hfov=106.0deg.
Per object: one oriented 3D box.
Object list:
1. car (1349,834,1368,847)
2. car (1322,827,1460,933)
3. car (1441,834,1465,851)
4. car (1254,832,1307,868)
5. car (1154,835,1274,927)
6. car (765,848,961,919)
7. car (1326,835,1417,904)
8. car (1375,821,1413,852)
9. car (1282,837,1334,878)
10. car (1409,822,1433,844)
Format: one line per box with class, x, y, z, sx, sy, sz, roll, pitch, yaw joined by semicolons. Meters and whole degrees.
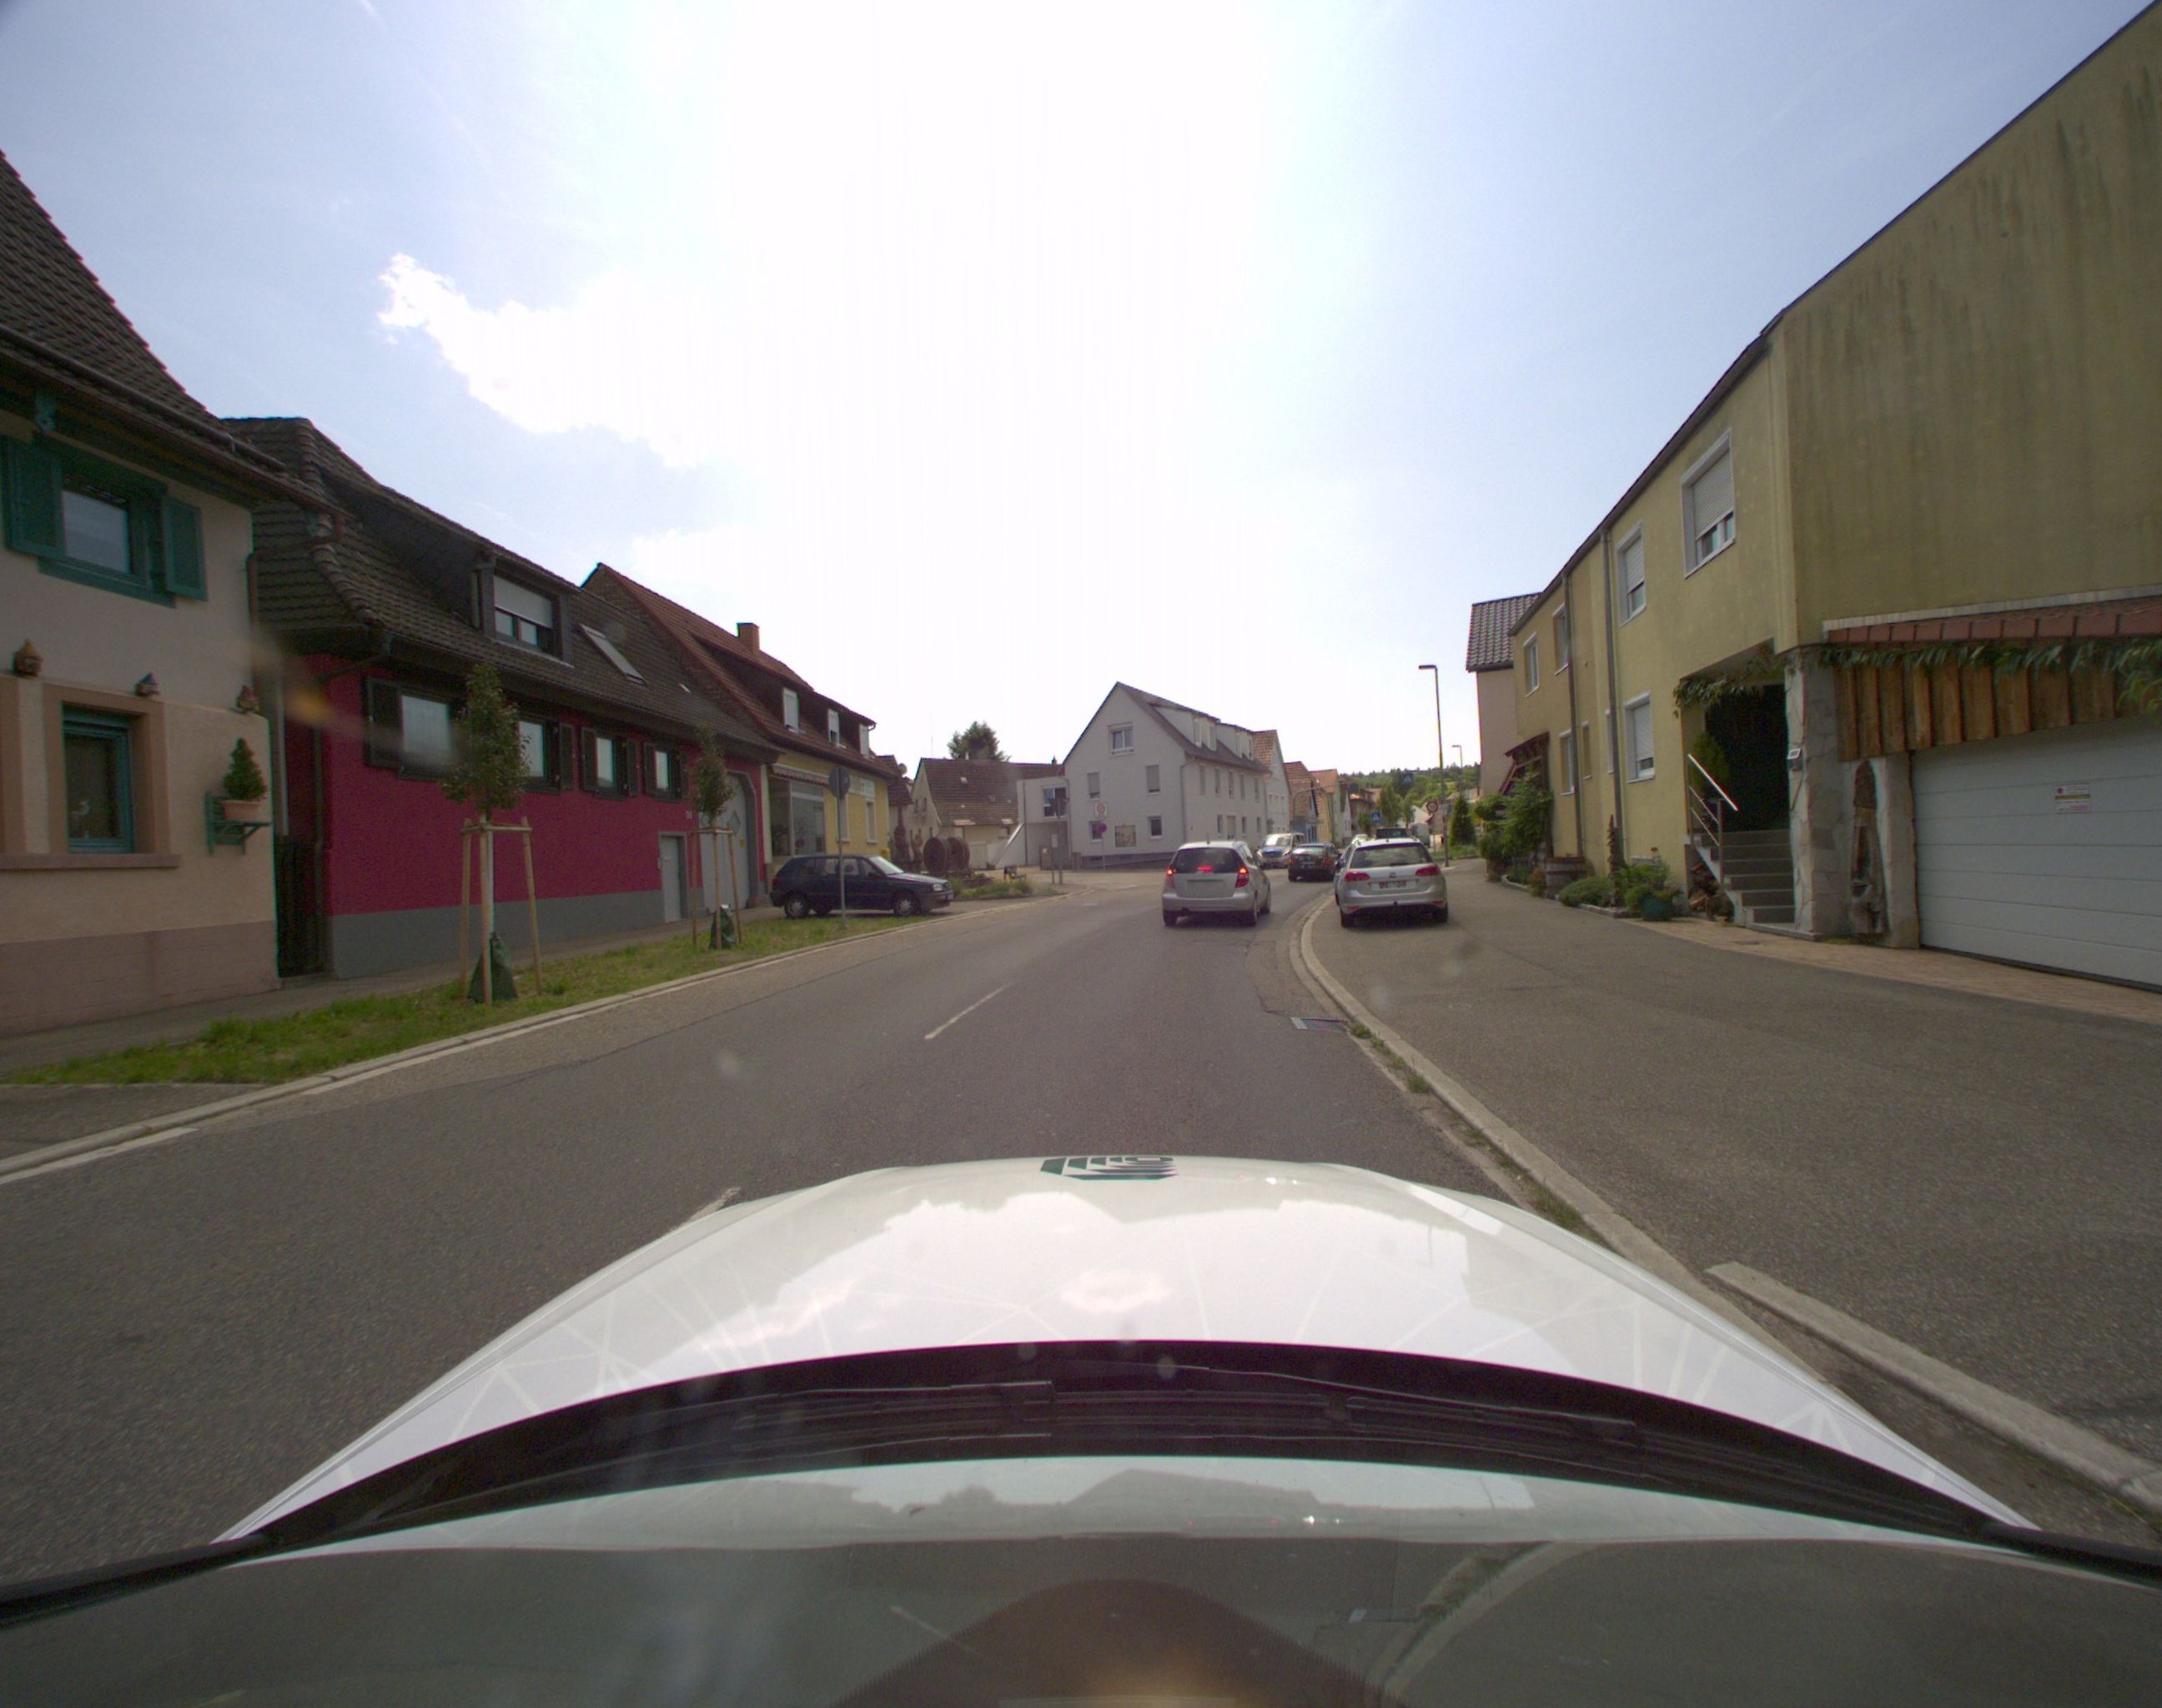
car;32.186;-1.545;94.423;1.977;1.321;3.727;-2;-1;20
car;5.461;0.393;14.878;1.870;1.530;4.354;-5;-1;16
car;35.662;-1.076;78.099;1.975;1.508;4.023;-2;-1;25
car;10.849;-0.186;44.081;1.976;1.800;4.963;-2;-1;23
car;2.814;0.454;16.566;1.796;1.643;3.747;0;1;18
car;-4.909;0.646;18.677;3.952;1.464;1.722;-1;0;2
car;7.113;0.372;20.302;1.757;1.400;4.443;-5;-2;16
car;20.091;-1.094;52.213;1.975;1.816;4.023;-2;-1;24
car;8.748;0.155;31.195;1.736;1.416;4.018;-2;-1;17
car;33.986;-2.076;81.396;1.975;2.014;4.023;-2;-1;25
